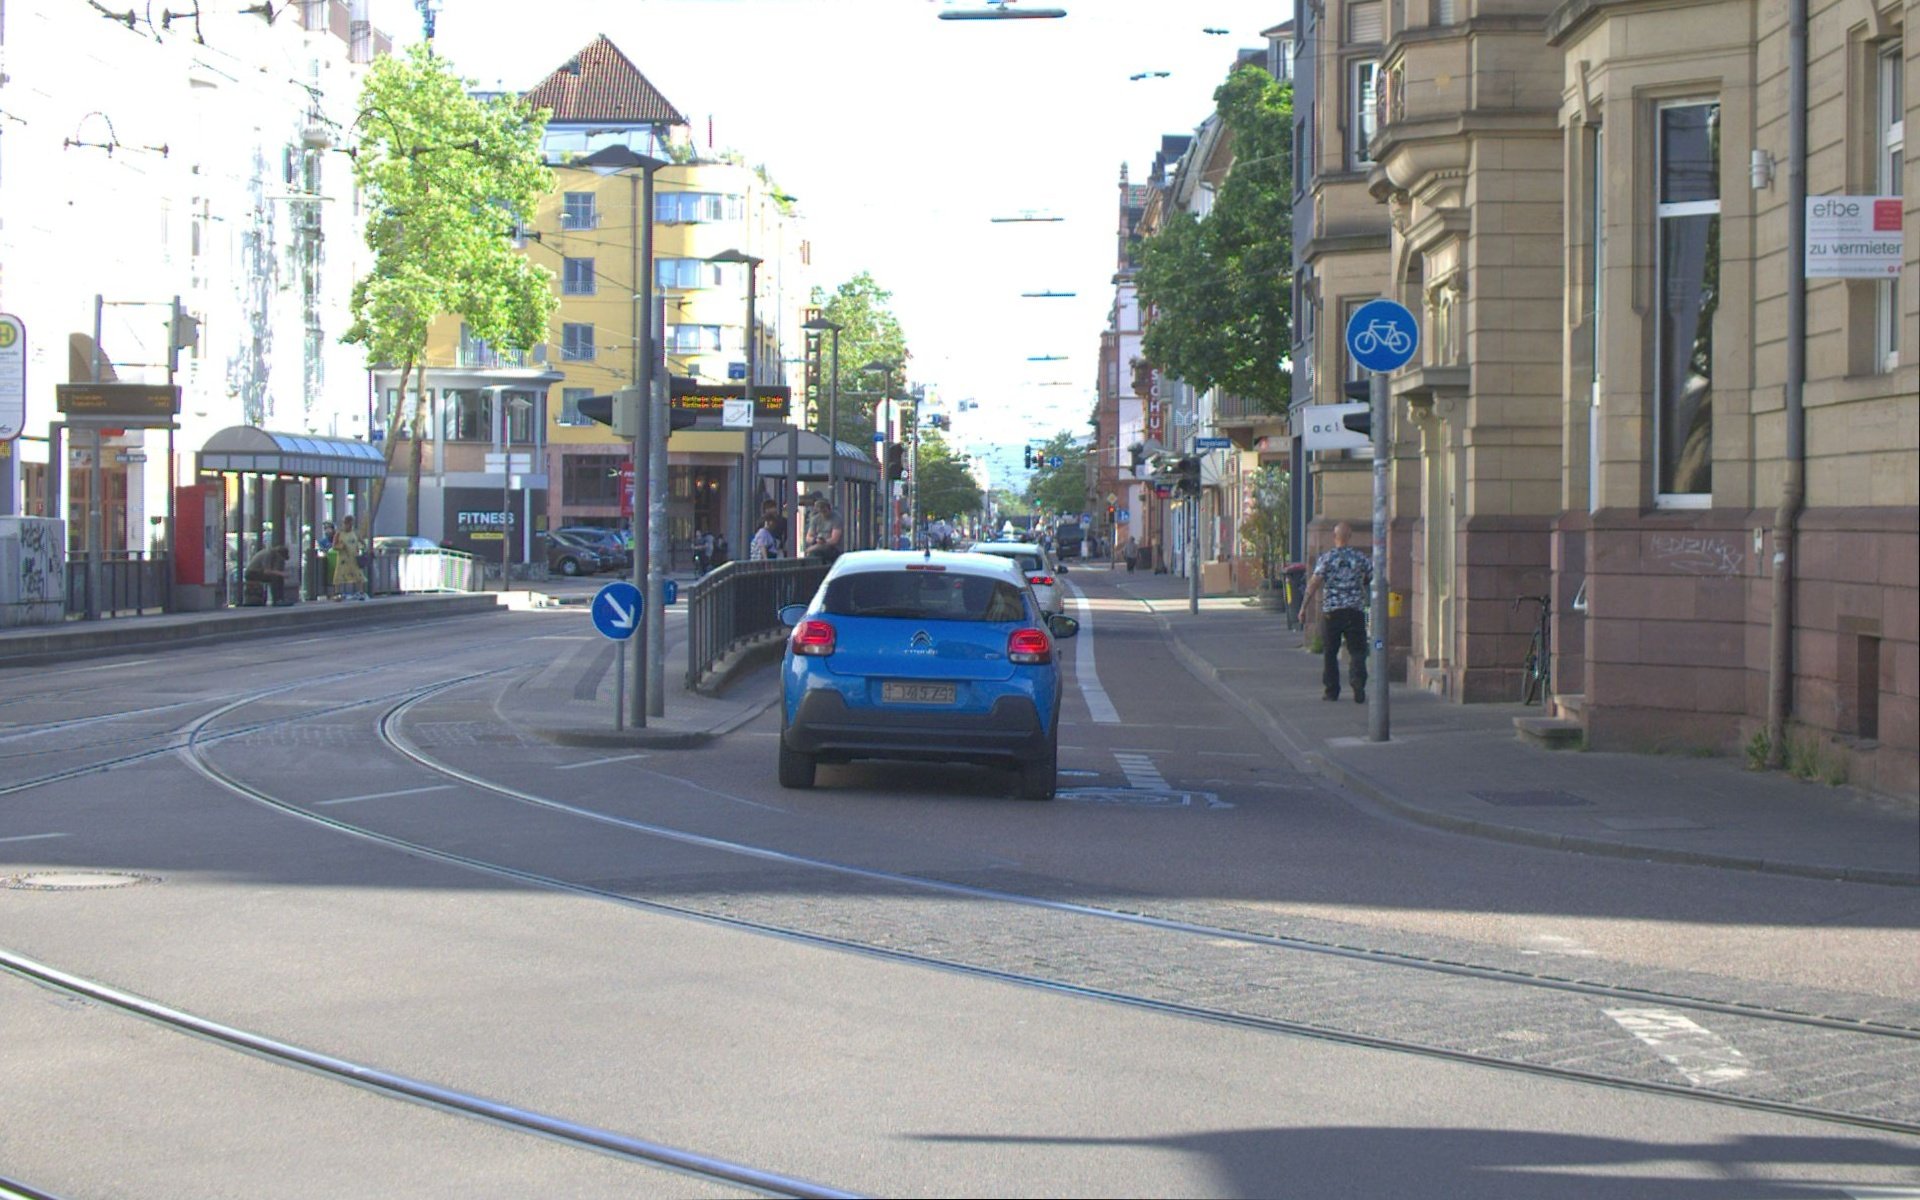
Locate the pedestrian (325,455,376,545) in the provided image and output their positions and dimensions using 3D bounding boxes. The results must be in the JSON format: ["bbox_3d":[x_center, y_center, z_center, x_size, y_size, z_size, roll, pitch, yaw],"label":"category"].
[{"bbox_3d":[-10.817,-1.777,61.024,0.731,1.553,0.743,2,4,1],"label":"pedestrian"}]

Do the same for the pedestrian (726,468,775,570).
[{"bbox_3d":[-3.261,-1.259,53.455,0.586,1.556,0.469,4,4,37],"label":"pedestrian"}]

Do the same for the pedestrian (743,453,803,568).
[{"bbox_3d":[-2.937,-1.410,53.990,0.718,1.771,0.564,4,4,37],"label":"pedestrian"}]

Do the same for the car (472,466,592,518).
[{"bbox_3d":[-15.034,-3.801,120.800,3.986,1.668,1.958,1,4,-1],"label":"car"}]

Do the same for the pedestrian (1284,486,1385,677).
[{"bbox_3d":[3.635,-0.191,33.449,0.780,1.743,1.093,2,5,-1],"label":"pedestrian"}]

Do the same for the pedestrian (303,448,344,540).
[{"bbox_3d":[-14.150,-2.361,76.478,0.669,2.006,0.708,3,2,3],"label":"pedestrian"}]

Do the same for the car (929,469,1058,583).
[{"bbox_3d":[0.603,-1.274,57.720,1.994,1.736,4.000,3,2,2],"label":"car"}]

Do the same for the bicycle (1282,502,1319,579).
[{"bbox_3d":[5.315,-0.937,53.665,0.459,1.119,1.773,0,3,2],"label":"bicycle"}]

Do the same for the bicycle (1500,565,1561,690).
[{"bbox_3d":[5.227,0.237,31.541,0.255,1.048,1.769,3,2,1],"label":"bicycle"}]

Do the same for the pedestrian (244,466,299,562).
[{"bbox_3d":[-11.416,-1.431,56.988,0.731,1.522,0.743,2,4,1],"label":"pedestrian"}]

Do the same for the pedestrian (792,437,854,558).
[{"bbox_3d":[-1.953,-1.469,49.116,0.636,1.691,0.933,3,2,9],"label":"pedestrian"}]

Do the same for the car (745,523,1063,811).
[{"bbox_3d":[-0.276,0.349,21.846,1.781,1.445,3.654,3,4,2],"label":"car"}]

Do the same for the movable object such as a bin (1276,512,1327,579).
[{"bbox_3d":[5.548,-0.884,55.906,0.748,1.032,0.754,-2,3,2],"label":"movable object such as a bin"}]

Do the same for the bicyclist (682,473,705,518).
[{"bbox_3d":[-9.519,-3.721,122.746,0.672,1.551,0.778,2,4,3],"label":"bicyclist"}]
